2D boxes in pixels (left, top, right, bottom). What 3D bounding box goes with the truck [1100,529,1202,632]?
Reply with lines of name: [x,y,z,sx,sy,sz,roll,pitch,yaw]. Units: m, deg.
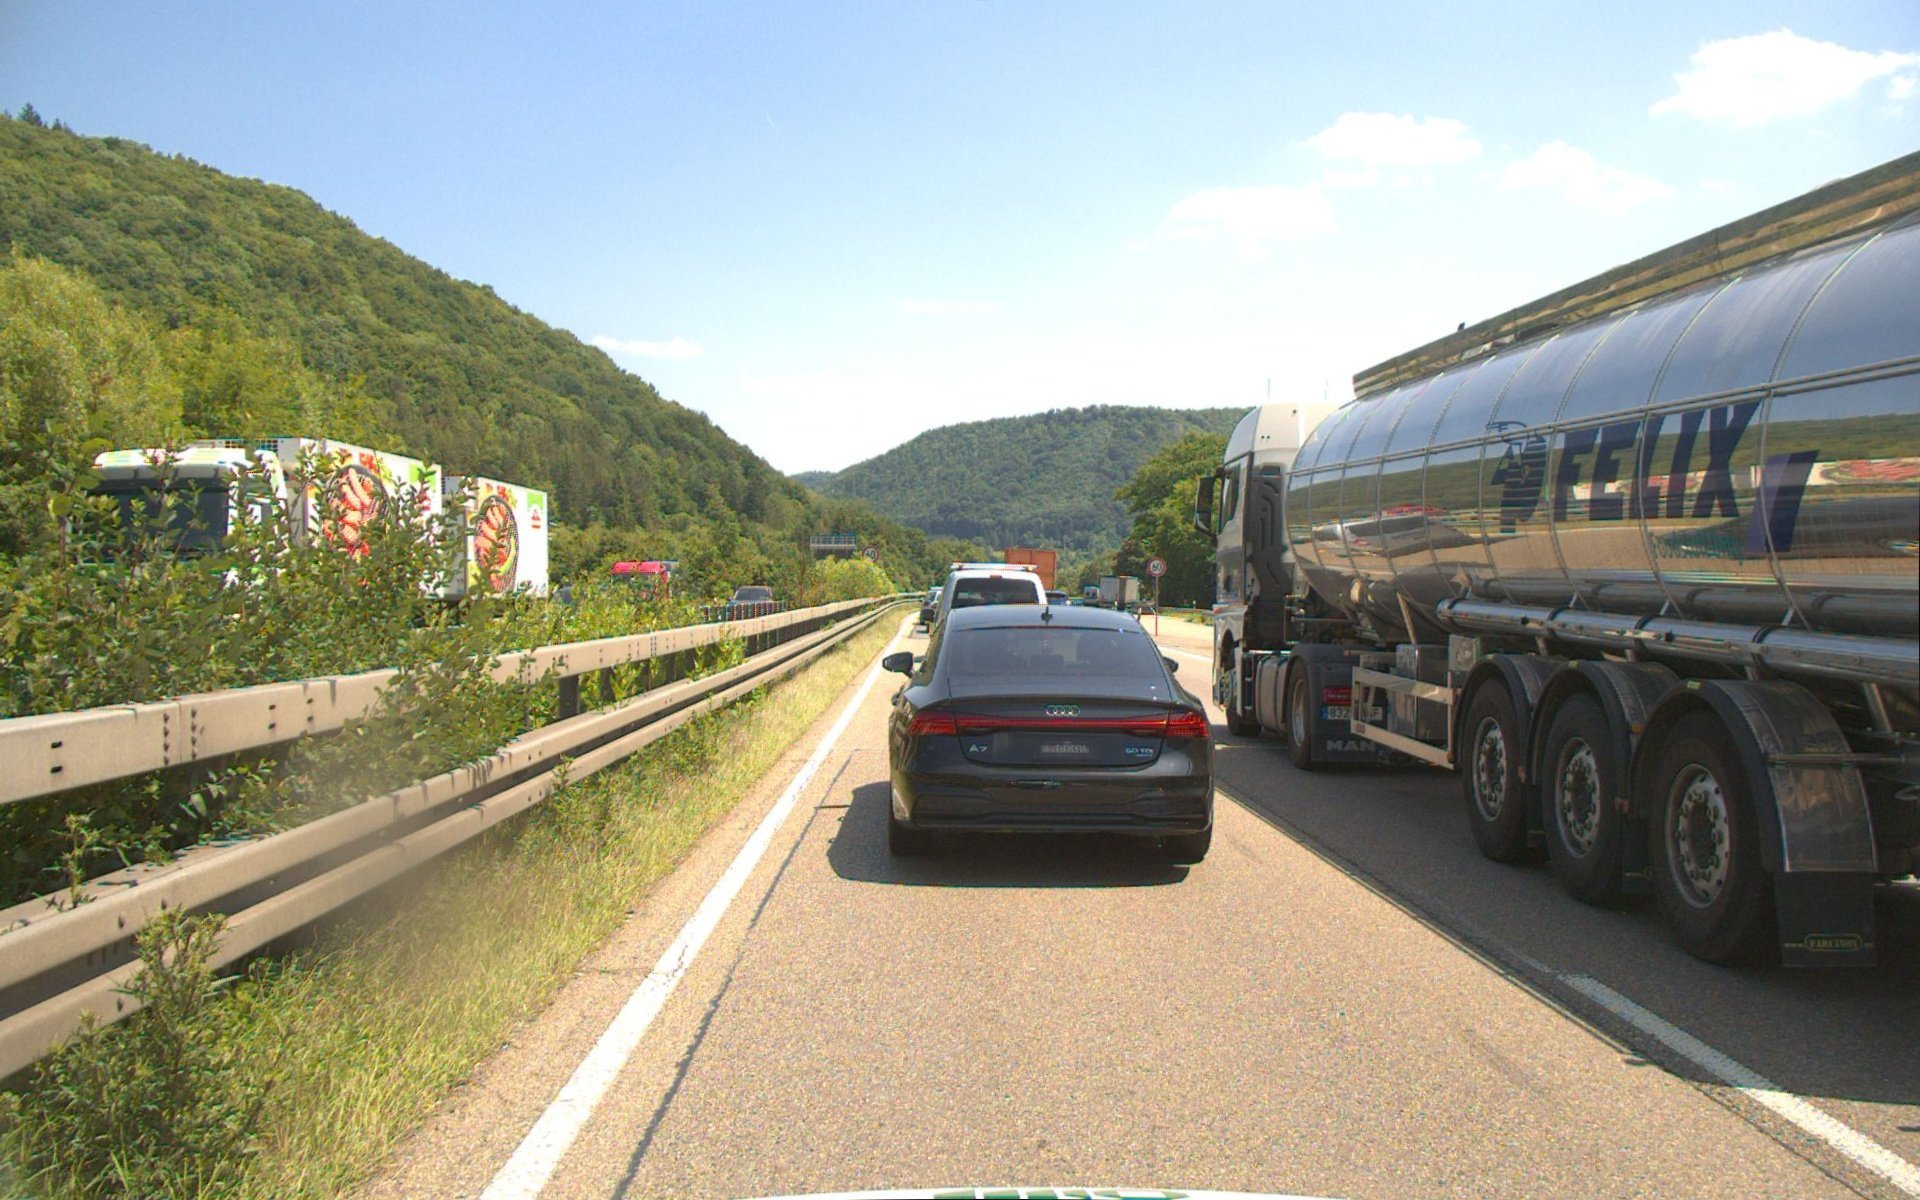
truck: [8.251,-0.838,73.408,2.760,4.073,14.955,1,0,0]

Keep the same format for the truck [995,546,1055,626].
truck: [3.488,-0.768,92.296,2.760,4.073,14.955,1,0,0]

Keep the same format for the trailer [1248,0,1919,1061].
trailer: [4.262,-0.419,10.541,2.487,3.801,11.888,1,0,-1]

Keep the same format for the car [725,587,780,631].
car: [-7.951,0.314,63.599,1.741,1.627,3.999,0,0,-2]

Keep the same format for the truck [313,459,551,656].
truck: [-12.049,-0.902,38.771,2.811,4.050,9.029,1,0,-1]

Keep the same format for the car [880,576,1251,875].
car: [0.448,0.632,10.477,1.813,1.514,4.080,1,0,-4]

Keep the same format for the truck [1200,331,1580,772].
truck: [4.146,-0.432,17.083,2.460,3.824,5.245,1,0,-1]

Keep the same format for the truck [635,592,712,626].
truck: [-12.035,0.365,69.953,2.164,1.357,7.007,0,0,-1]

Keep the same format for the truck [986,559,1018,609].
truck: [3.047,-1.171,122.917,1.953,3.507,11.809,1,0,-1]

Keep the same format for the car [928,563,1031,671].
car: [0.351,0.322,33.776,1.953,2.049,3.999,1,0,-1]

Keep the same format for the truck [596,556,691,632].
truck: [-11.841,-0.240,62.476,2.249,2.633,7.965,1,0,-2]

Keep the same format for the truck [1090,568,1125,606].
truck: [18.672,-1.625,208.613,3.713,4.491,14.967,1,0,8]

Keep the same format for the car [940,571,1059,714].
car: [0.497,0.553,23.809,1.544,1.865,3.999,1,0,-1]

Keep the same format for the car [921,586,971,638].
car: [-0.600,0.468,67.661,1.953,2.049,3.999,0,0,-1]

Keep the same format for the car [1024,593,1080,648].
car: [3.499,0.763,63.744,1.952,2.037,4.000,0,0,0]

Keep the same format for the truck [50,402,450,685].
truck: [-11.887,-0.844,29.138,2.811,4.076,10.168,1,0,-1]
